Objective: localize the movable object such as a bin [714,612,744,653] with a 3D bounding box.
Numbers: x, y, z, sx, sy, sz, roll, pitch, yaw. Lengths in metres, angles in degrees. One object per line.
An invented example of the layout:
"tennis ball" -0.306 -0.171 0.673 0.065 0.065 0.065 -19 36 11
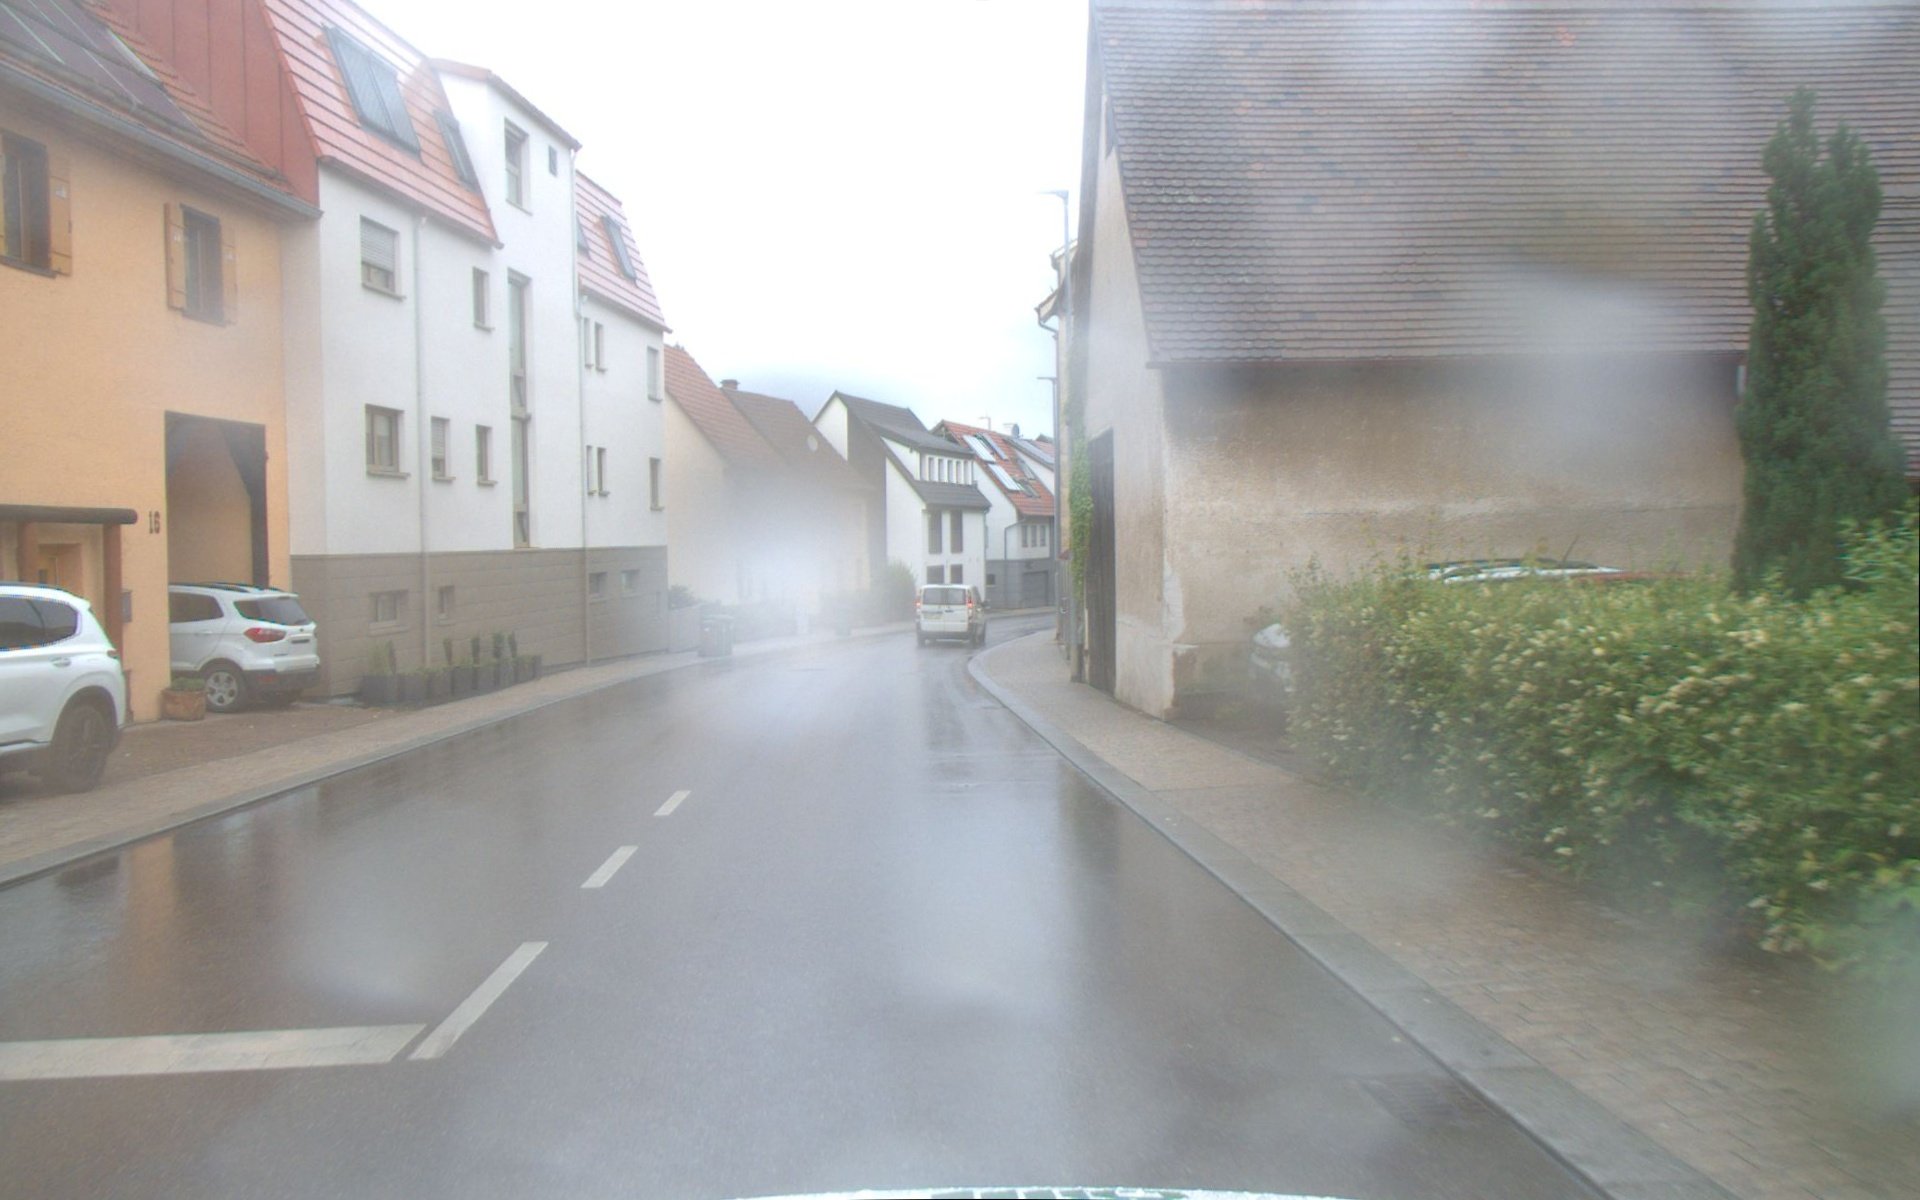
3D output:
"movable object such as a bin" -6.198 0.875 44.441 0.667 1.064 0.661 1 0 5

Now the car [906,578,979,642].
"car" -0.508 0.289 52.206 2.150 1.884 4.304 -1 0 1

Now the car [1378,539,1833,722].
"car" 6.867 0.304 17.897 4.132 1.677 1.902 -3 0 -2

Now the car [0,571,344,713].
"car" -10.812 0.550 22.738 3.904 1.699 1.879 2 0 2

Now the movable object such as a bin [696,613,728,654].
"movable object such as a bin" -6.578 0.883 43.911 0.667 1.085 0.695 1 0 5

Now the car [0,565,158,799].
"car" -8.014 0.625 12.275 1.776 1.736 4.618 -1 0 1

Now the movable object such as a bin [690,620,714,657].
"movable object such as a bin" -6.735 1.006 43.136 0.495 0.939 0.579 1 0 3

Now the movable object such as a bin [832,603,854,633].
"movable object such as a bin" -4.351 0.665 61.466 0.645 1.074 0.764 2 1 7
